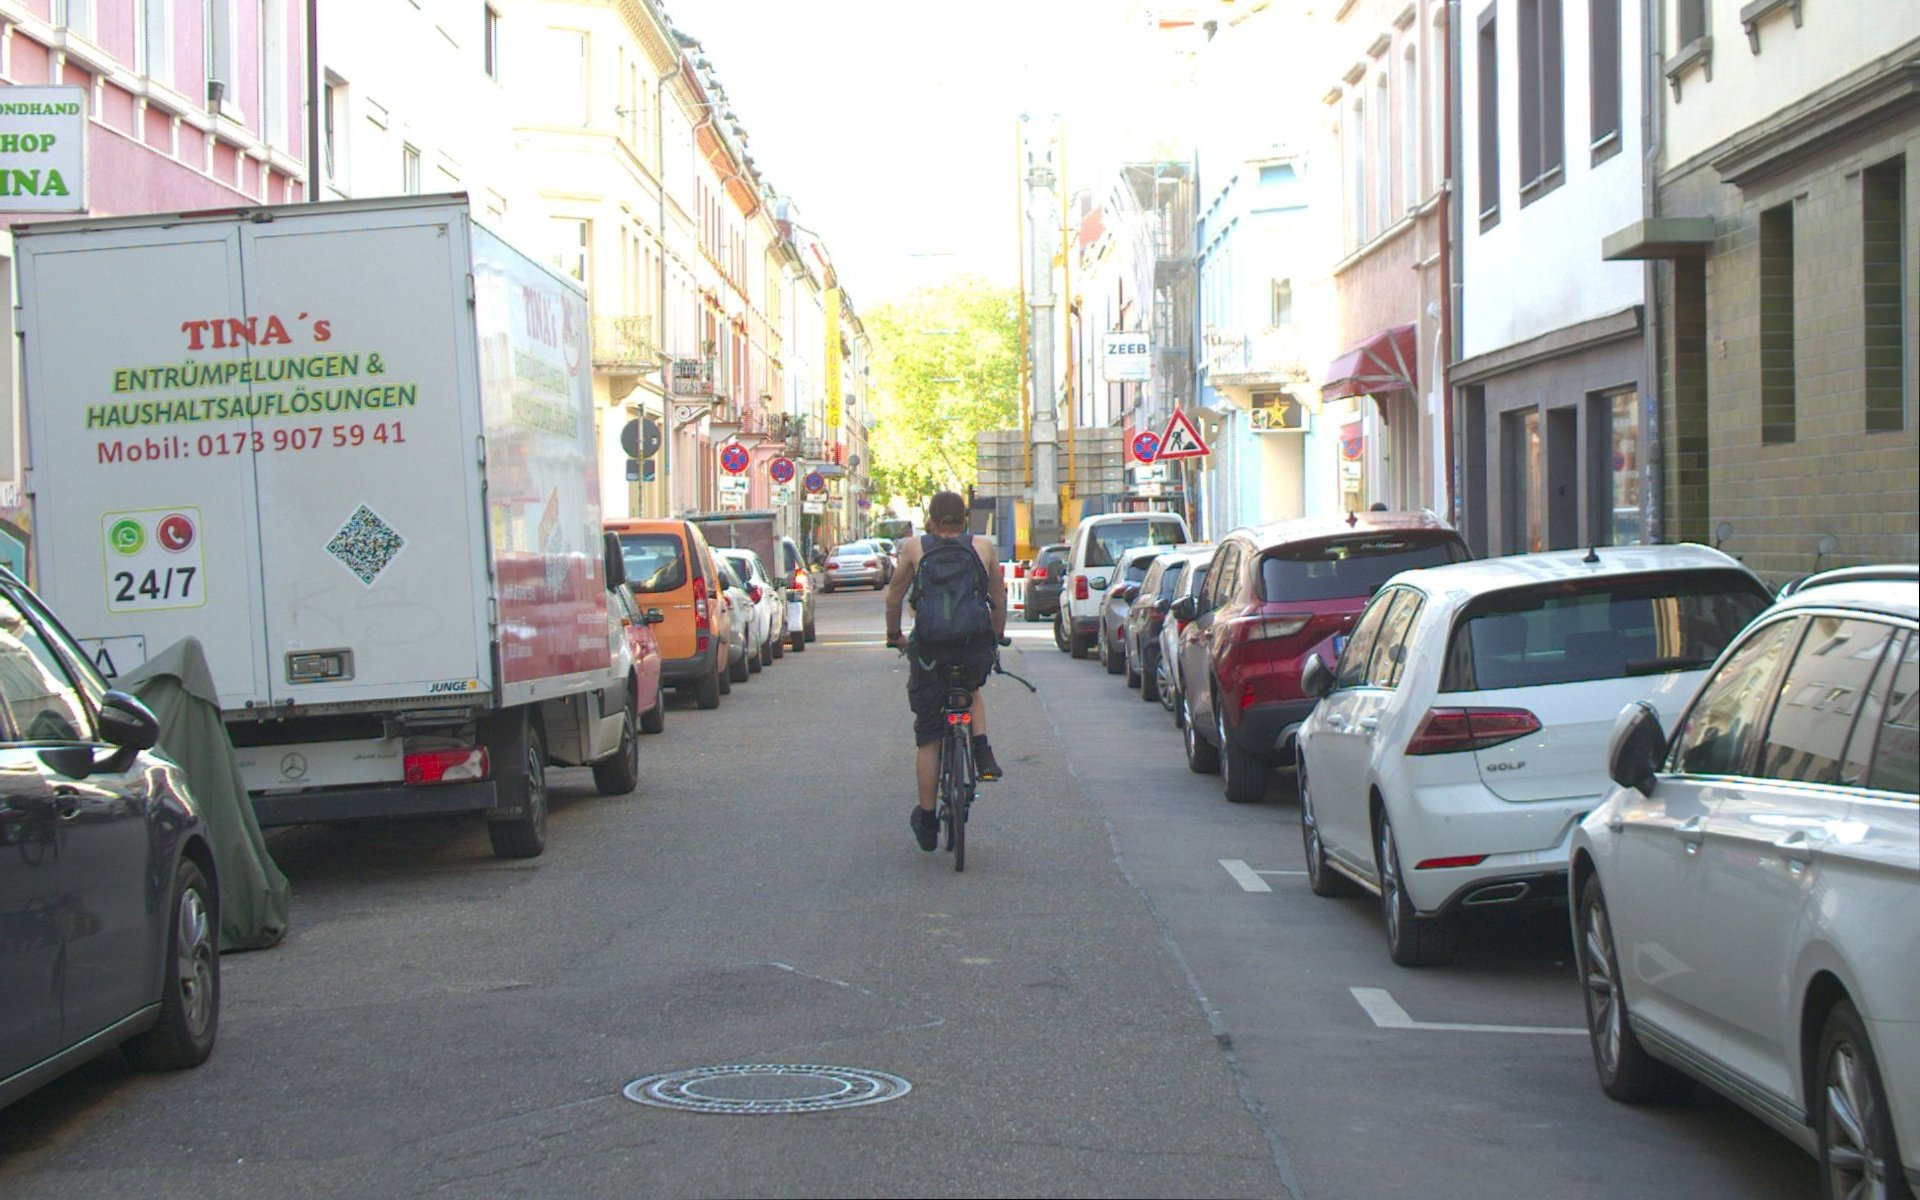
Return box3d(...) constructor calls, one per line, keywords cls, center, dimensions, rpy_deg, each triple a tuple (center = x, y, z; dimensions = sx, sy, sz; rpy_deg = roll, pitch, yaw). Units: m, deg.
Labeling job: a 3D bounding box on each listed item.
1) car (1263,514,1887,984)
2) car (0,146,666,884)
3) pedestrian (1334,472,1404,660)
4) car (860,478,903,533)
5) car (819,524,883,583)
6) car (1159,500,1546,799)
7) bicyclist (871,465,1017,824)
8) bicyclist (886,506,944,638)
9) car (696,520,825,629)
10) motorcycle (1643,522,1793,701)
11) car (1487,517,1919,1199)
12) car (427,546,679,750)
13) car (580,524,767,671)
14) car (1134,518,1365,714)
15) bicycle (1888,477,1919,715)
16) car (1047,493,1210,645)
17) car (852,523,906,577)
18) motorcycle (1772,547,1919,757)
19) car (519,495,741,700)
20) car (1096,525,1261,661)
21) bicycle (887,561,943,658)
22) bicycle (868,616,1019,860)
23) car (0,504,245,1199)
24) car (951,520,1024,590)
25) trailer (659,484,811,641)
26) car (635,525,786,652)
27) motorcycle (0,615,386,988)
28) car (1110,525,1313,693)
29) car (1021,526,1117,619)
box3d(cls="car", center=(2.288, 0.485, 13.814), dimensions=(1.686, 1.538, 4.046), rpy_deg=(-2, 1, 0))
box3d(cls="car", center=(-3.235, -0.436, 19.315), dimensions=(2.343, 3.280, 7.154), rpy_deg=(-2, 1, 1))
box3d(cls="pedestrian", center=(4.424, -0.370, 37.243), dimensions=(0.644, 2.007, 0.764), rpy_deg=(1, 1, 0))
box3d(cls="car", center=(-3.411, -4.097, 149.676), dimensions=(1.750, 2.310, 3.796), rpy_deg=(-2, 1, 0))
box3d(cls="car", center=(-3.213, -1.387, 102.090), dimensions=(1.750, 1.678, 3.796), rpy_deg=(-2, 1, 0))
box3d(cls="car", center=(2.365, 0.236, 21.797), dimensions=(1.918, 1.700, 4.366), rpy_deg=(0, 1, 0))
box3d(cls="bicyclist", center=(-0.078, 0.200, 16.589), dimensions=(0.667, 1.671, 1.097), rpy_deg=(0, 1, -1))
box3d(cls="bicyclist", center=(-0.539, -0.334, 41.231), dimensions=(0.671, 1.562, 0.716), rpy_deg=(0, 1, -1))
box3d(cls="car", center=(-3.052, -0.405, 53.087), dimensions=(1.750, 1.567, 3.796), rpy_deg=(-2, 1, 0))
box3d(cls="motorcycle", center=(4.915, 0.057, 22.382), dimensions=(0.501, 1.091, 1.878), rpy_deg=(-3, 1, 0))
box3d(cls="car", center=(2.443, 0.572, 7.744), dimensions=(1.697, 1.538, 4.629), rpy_deg=(-2, 1, 0))
box3d(cls="car", center=(-3.273, 0.343, 28.216), dimensions=(1.578, 1.478, 3.565), rpy_deg=(-3, 1, 0))
box3d(cls="car", center=(-3.204, -0.054, 39.125), dimensions=(1.750, 1.532, 4.319), rpy_deg=(-2, 1, 0))
box3d(cls="car", center=(2.459, 0.104, 29.939), dimensions=(1.667, 1.500, 3.816), rpy_deg=(-3, 1, 1))
box3d(cls="bicycle", center=(4.982, -0.013, 16.605), dimensions=(0.521, 1.169, 1.685), rpy_deg=(1, 1, 0))
box3d(cls="car", center=(2.182, -0.415, 45.525), dimensions=(1.750, 1.872, 3.973), rpy_deg=(-2, 1, -2))
box3d(cls="car", center=(-2.798, -1.748, 119.626), dimensions=(1.750, 1.815, 3.796), rpy_deg=(-2, 1, 0))
box3d(cls="motorcycle", center=(5.064, 0.265, 19.232), dimensions=(0.558, 1.091, 1.776), rpy_deg=(-3, 1, 0))
box3d(cls="car", center=(-3.152, -0.047, 33.523), dimensions=(1.752, 1.810, 4.078), rpy_deg=(-3, 1, -1))
box3d(cls="car", center=(2.521, -0.107, 40.463), dimensions=(1.750, 1.481, 3.799), rpy_deg=(-1, 1, 1))
box3d(cls="bicycle", center=(-0.534, 0.103, 41.232), dimensions=(0.648, 1.125, 2.136), rpy_deg=(1, 1, 0))
box3d(cls="bicycle", center=(-0.084, 0.634, 16.633), dimensions=(0.677, 1.071, 1.942), rpy_deg=(0, 1, -1))
box3d(cls="car", center=(-3.093, 0.647, 8.483), dimensions=(1.716, 1.644, 4.246), rpy_deg=(-3, 2, 0))
box3d(cls="car", center=(0.606, -1.034, 79.032), dimensions=(1.611, 1.555, 3.610), rpy_deg=(1, 1, 0))
box3d(cls="trailer", center=(-3.150, -0.536, 48.833), dimensions=(1.882, 2.085, 3.737), rpy_deg=(-2, 1, 0))
box3d(cls="car", center=(-3.171, -0.165, 44.173), dimensions=(1.653, 1.532, 3.634), rpy_deg=(-2, 1, 0))
box3d(cls="motorcycle", center=(-3.293, 0.740, 13.101), dimensions=(0.791, 1.248, 2.102), rpy_deg=(-2, 2, 42))
box3d(cls="car", center=(2.479, 0.060, 34.703), dimensions=(1.646, 1.470, 3.971), rpy_deg=(-4, 1, 0))
box3d(cls="car", center=(1.959, -0.506, 62.801), dimensions=(1.611, 1.628, 3.610), rpy_deg=(1, 1, 0))
